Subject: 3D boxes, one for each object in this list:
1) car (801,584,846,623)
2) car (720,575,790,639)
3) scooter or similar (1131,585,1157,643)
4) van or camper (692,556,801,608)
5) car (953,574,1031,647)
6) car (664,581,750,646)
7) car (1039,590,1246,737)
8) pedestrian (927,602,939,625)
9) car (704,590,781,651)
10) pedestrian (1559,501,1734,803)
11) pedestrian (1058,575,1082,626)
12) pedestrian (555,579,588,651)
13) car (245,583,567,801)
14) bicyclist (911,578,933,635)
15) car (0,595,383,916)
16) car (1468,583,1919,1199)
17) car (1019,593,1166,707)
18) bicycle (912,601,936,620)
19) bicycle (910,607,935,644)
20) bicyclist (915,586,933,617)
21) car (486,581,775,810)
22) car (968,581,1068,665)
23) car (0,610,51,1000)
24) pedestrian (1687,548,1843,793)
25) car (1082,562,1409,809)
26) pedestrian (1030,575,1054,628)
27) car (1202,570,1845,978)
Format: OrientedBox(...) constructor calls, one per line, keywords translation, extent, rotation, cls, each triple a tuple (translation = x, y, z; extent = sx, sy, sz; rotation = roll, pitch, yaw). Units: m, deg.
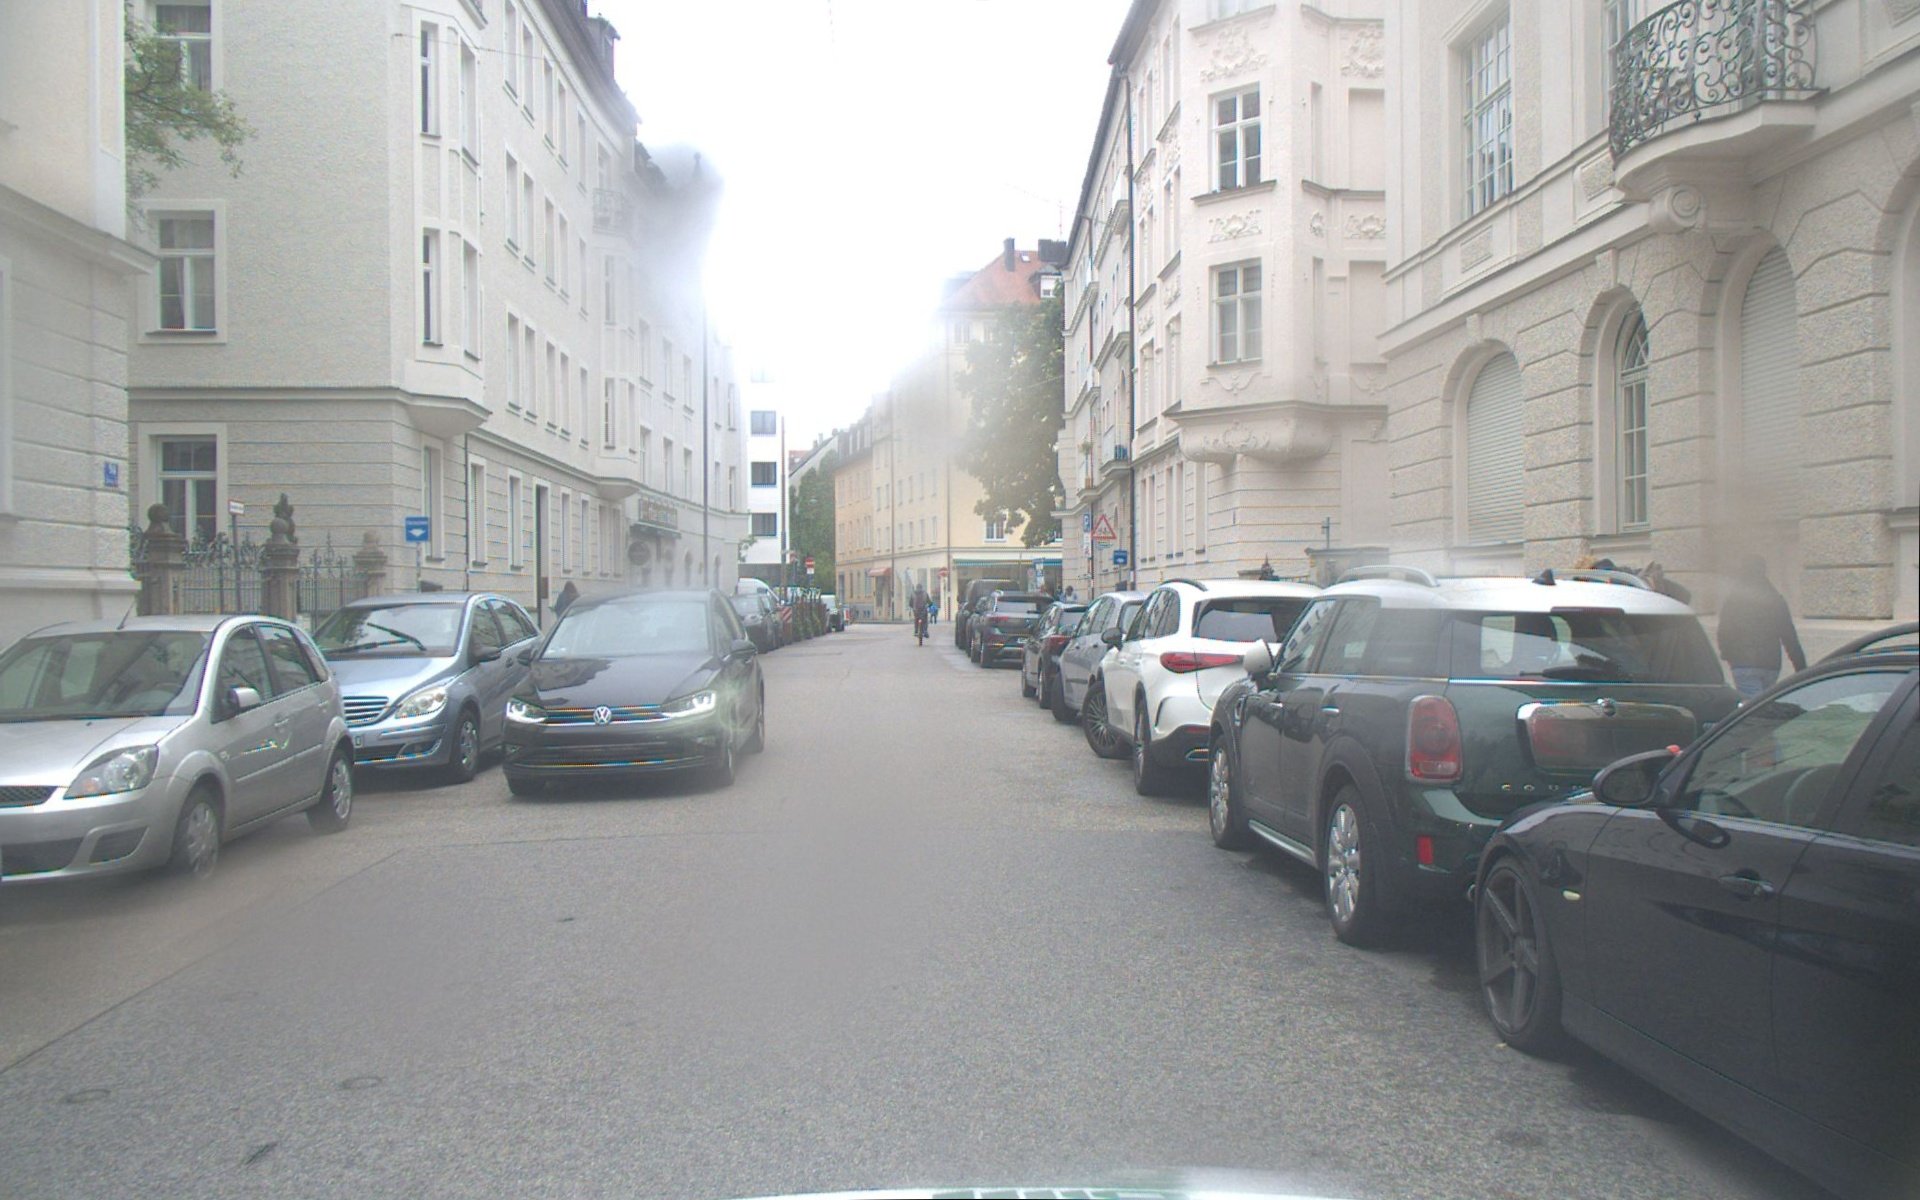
OrientedBox(translation=(-6.046, 0.136, 73.684), extent=(1.642, 1.624, 3.945), rotation=(-2, 0, -1), cls="car")
OrientedBox(translation=(-6.113, 0.165, 49.744), extent=(1.711, 1.702, 4.273), rotation=(-3, 1, -3), cls="car")
OrientedBox(translation=(4.337, 0.310, 38.993), extent=(0.529, 1.310, 1.504), rotation=(-2, 1, 5), cls="scooter or similar")
OrientedBox(translation=(-11.573, -0.966, 89.547), extent=(5.798, 2.724, 1.868), rotation=(-1, -1, -11), cls="van or camper")
OrientedBox(translation=(0.840, 0.253, 46.816), extent=(1.872, 1.918, 4.712), rotation=(2, 1, -2), cls="car")
OrientedBox(translation=(-6.047, 0.286, 39.957), extent=(1.775, 1.409, 4.438), rotation=(-2, 1, -6), cls="car")
OrientedBox(translation=(2.030, 0.661, 19.498), extent=(1.675, 1.527, 3.996), rotation=(0, 1, -5), cls="car")
OrientedBox(translation=(-1.577, 0.772, 96.551), extent=(0.684, 1.292, 0.651), rotation=(-1, 1, 2), cls="pedestrian")
OrientedBox(translation=(-5.890, 0.518, 45.154), extent=(1.707, 1.512, 4.179), rotation=(0, 1, -3), cls="car")
OrientedBox(translation=(4.345, 0.309, 10.514), extent=(0.668, 1.806, 0.855), rotation=(-3, 1, -2), cls="pedestrian")
OrientedBox(translation=(3.770, 0.015, 56.527), extent=(0.666, 1.703, 0.653), rotation=(-3, 1, -5), cls="pedestrian")
OrientedBox(translation=(-9.521, 0.364, 40.590), extent=(0.684, 1.736, 0.665), rotation=(0, 1, -5), cls="pedestrian")
OrientedBox(translation=(-4.913, 0.715, 15.270), extent=(1.662, 1.608, 4.060), rotation=(-3, 1, -2), cls="car")
OrientedBox(translation=(-1.100, 0.185, 48.148), extent=(0.593, 1.634, 0.758), rotation=(-1, 1, 1), cls="bicyclist")
OrientedBox(translation=(-4.787, 0.744, 9.733), extent=(1.613, 1.427, 3.996), rotation=(-3, 1, -5), cls="car")
OrientedBox(translation=(2.783, 0.737, 3.928), extent=(1.677, 1.477, 4.223), rotation=(0, 1, -3), cls="car")
OrientedBox(translation=(1.825, 0.655, 23.841), extent=(1.580, 1.419, 3.998), rotation=(1, 1, -3), cls="car")
OrientedBox(translation=(-2.015, 0.580, 92.161), extent=(0.833, 1.018, 2.160), rotation=(0, 1, -16), cls="bicycle")
OrientedBox(translation=(-1.087, 0.734, 48.099), extent=(0.626, 1.022, 1.574), rotation=(-1, 1, 2), cls="bicycle")
OrientedBox(translation=(-2.018, 0.075, 92.167), extent=(0.768, 1.666, 0.972), rotation=(0, 1, -16), cls="bicyclist")
OrientedBox(translation=(-2.607, 0.666, 13.994), extent=(1.690, 1.560, 4.084), rotation=(-3, 1, -2), cls="car")
OrientedBox(translation=(1.165, 0.438, 34.978), extent=(1.674, 1.615, 3.997), rotation=(1, 1, -4), cls="car")
OrientedBox(translation=(-4.416, 0.796, 4.514), extent=(1.761, 1.460, 4.077), rotation=(0, 1, -3), cls="car")
OrientedBox(translation=(5.878, 0.489, 12.114), extent=(0.668, 1.708, 0.811), rotation=(-3, 1, -3), cls="pedestrian")
OrientedBox(translation=(2.153, 0.546, 13.695), extent=(1.857, 1.664, 4.391), rotation=(0, 2, -1), cls="car")
OrientedBox(translation=(2.774, 0.032, 55.936), extent=(0.689, 1.758, 0.703), rotation=(-1, 1, -5), cls="pedestrian")
OrientedBox(translation=(2.461, 0.624, 8.398), extent=(1.713, 1.551, 4.169), rotation=(0, 1, -2), cls="car")
